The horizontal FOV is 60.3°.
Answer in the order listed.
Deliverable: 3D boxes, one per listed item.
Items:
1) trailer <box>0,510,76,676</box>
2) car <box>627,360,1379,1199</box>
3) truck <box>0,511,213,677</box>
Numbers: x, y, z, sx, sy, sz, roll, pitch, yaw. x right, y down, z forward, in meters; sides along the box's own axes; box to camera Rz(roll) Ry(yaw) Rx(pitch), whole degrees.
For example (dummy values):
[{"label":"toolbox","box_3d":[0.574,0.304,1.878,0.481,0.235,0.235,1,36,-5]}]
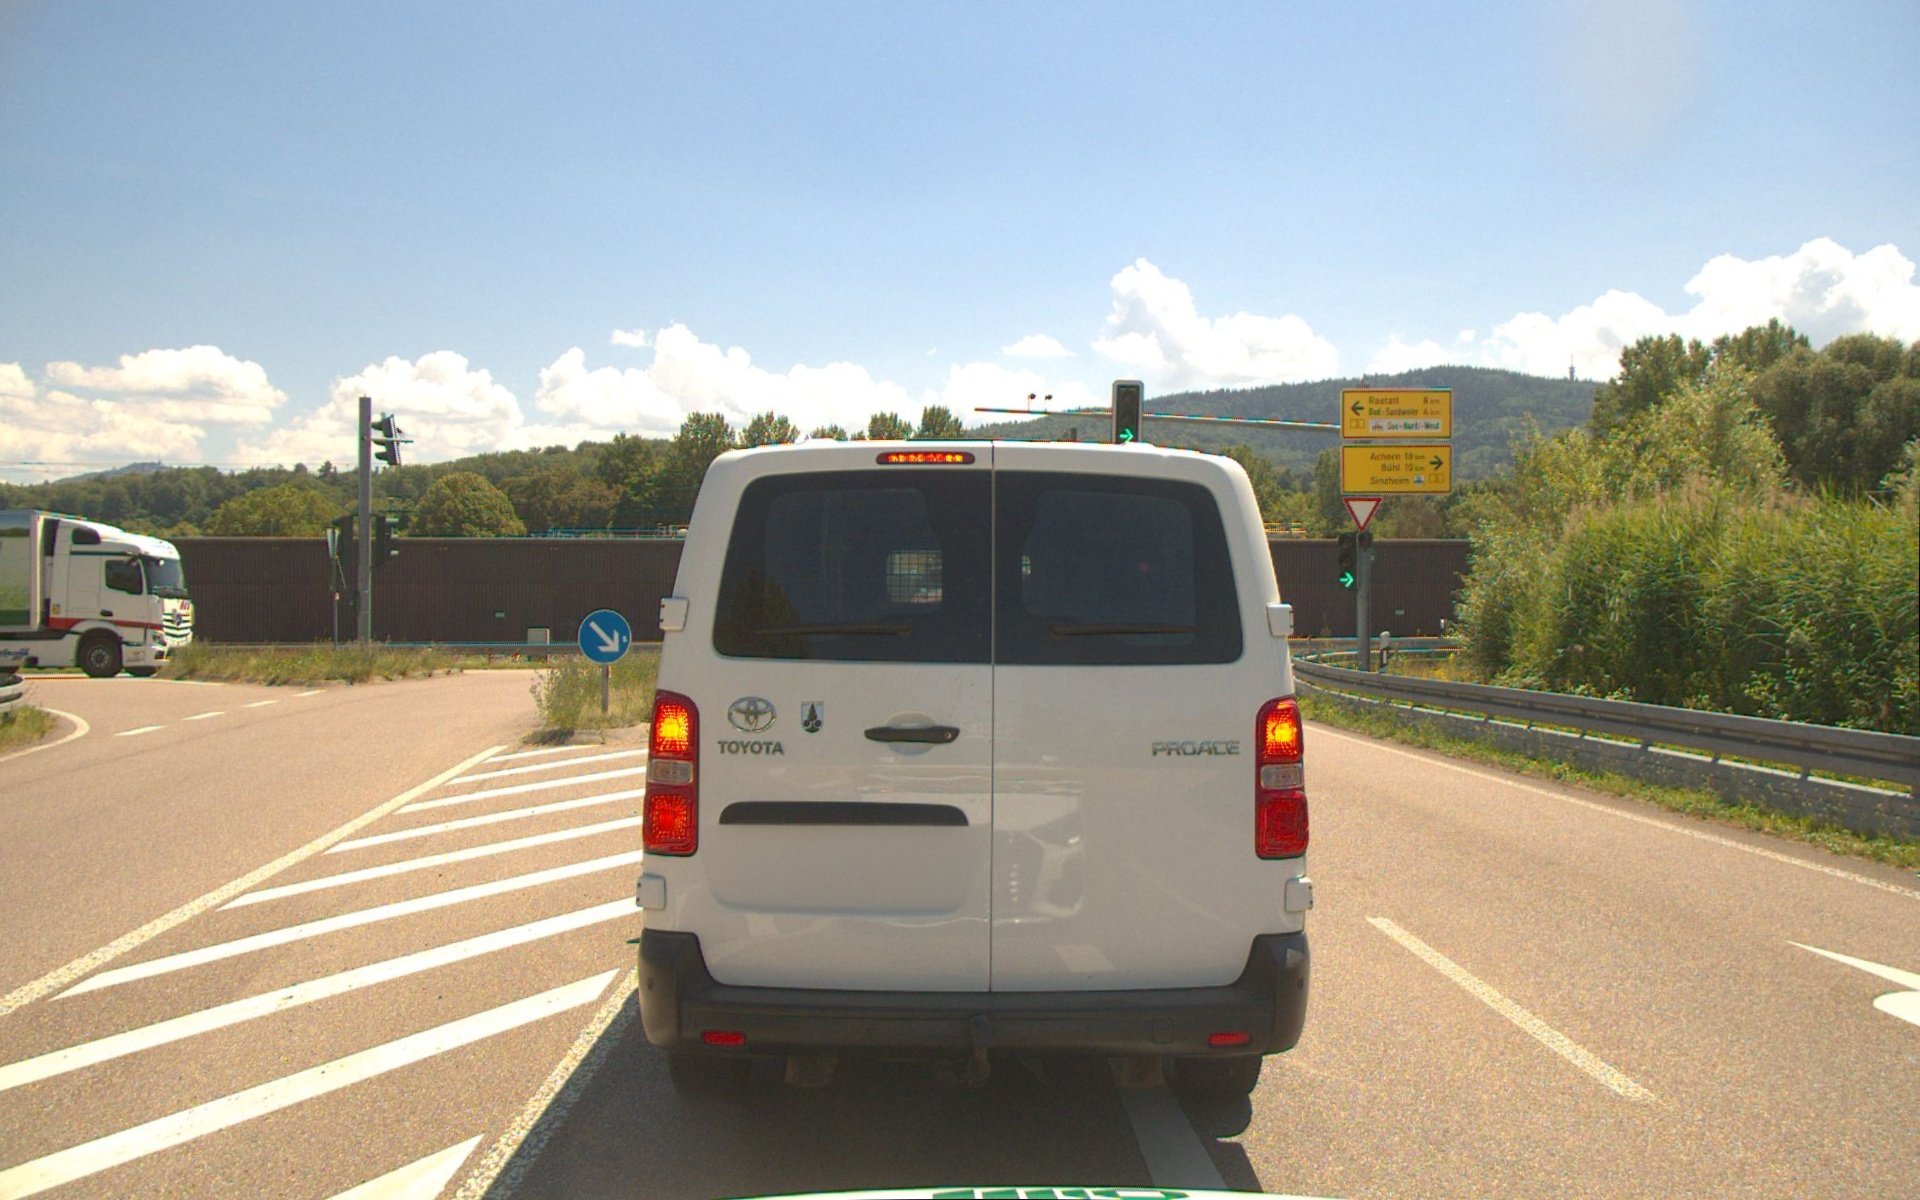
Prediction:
[{"label":"trailer","box_3d":[-29.523,-0.181,41.441,12.877,4.024,3.060,0,-1,-3]},{"label":"car","box_3d":[0.077,0.472,5.922,1.778,2.053,3.999,0,0,-1]},{"label":"truck","box_3d":[-22.395,-0.144,41.780,5.649,4.024,3.061,0,-1,-3]}]
